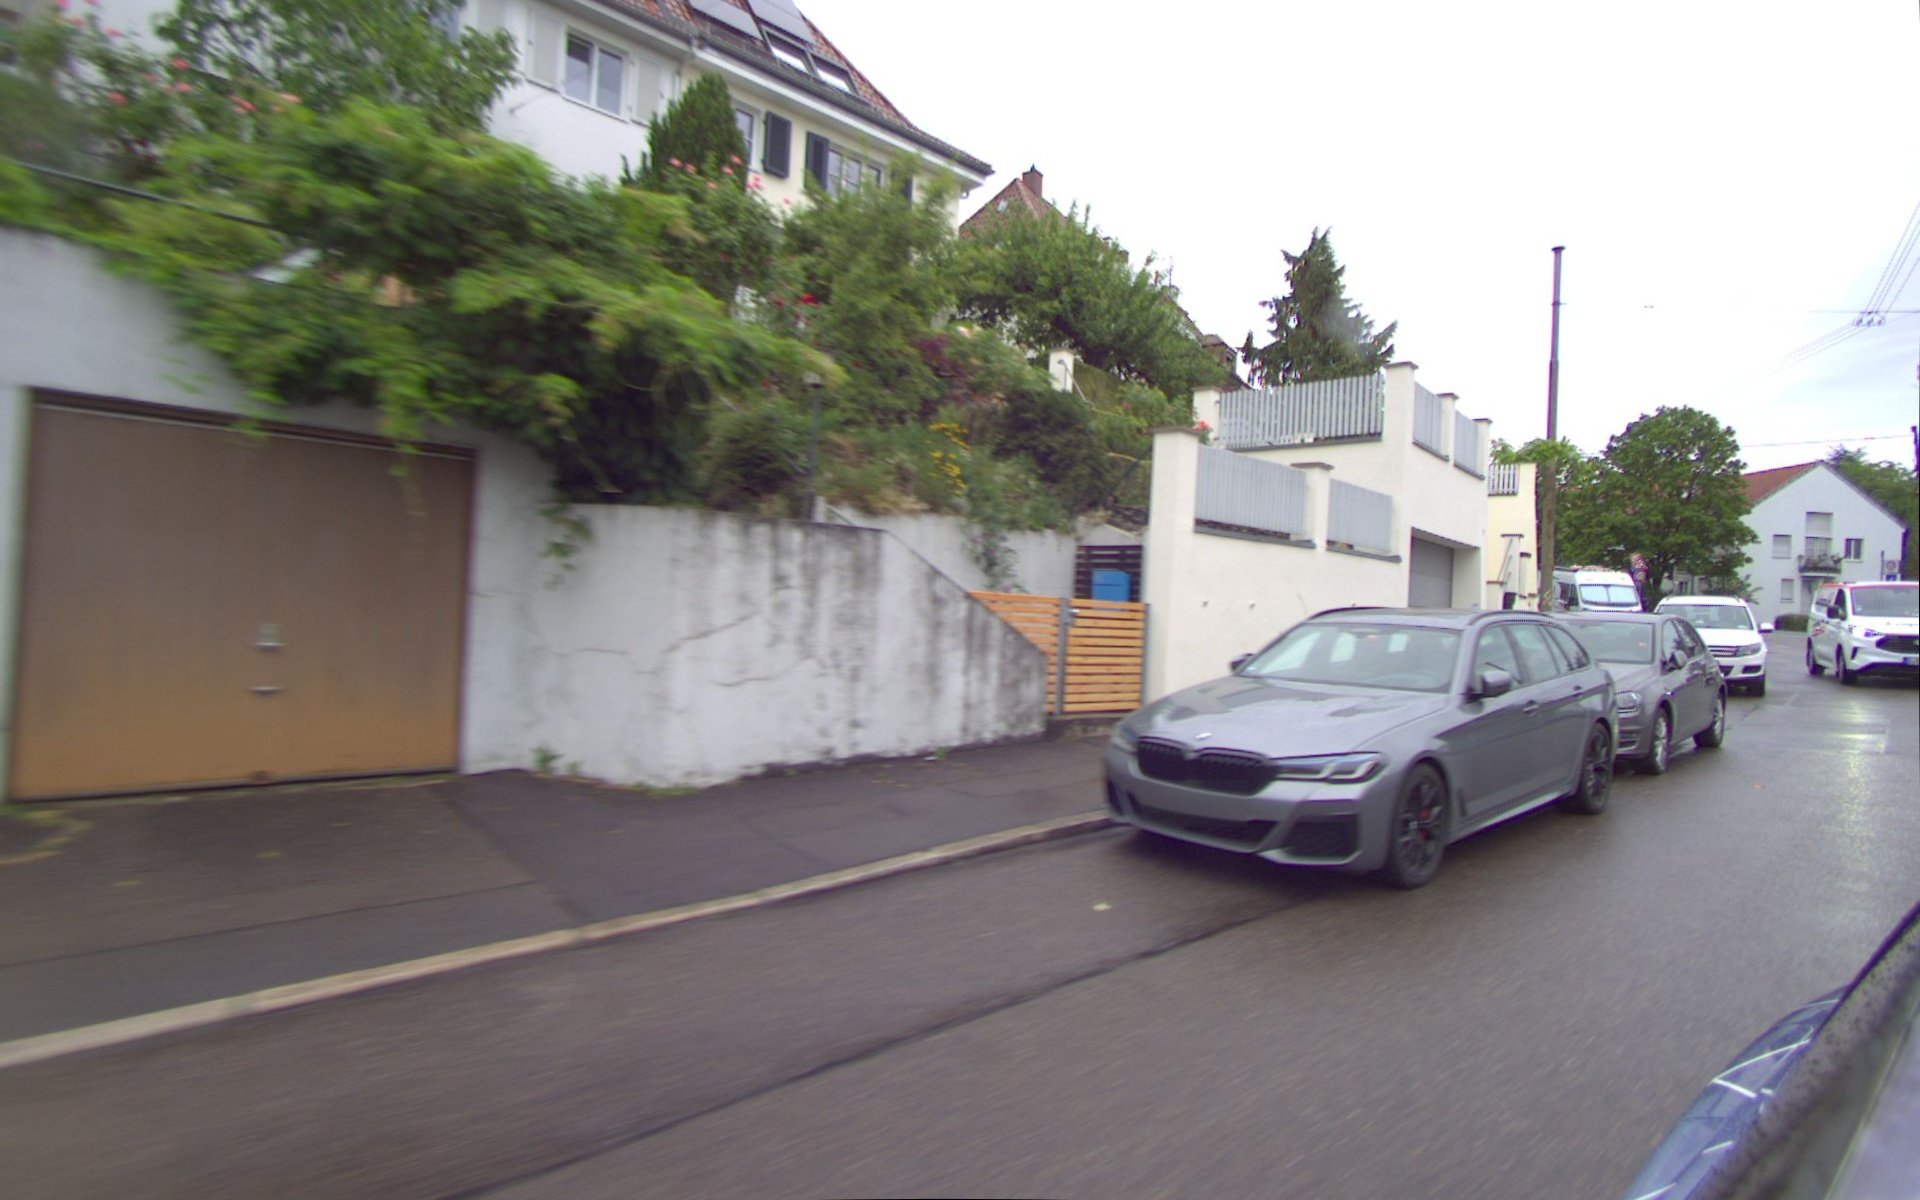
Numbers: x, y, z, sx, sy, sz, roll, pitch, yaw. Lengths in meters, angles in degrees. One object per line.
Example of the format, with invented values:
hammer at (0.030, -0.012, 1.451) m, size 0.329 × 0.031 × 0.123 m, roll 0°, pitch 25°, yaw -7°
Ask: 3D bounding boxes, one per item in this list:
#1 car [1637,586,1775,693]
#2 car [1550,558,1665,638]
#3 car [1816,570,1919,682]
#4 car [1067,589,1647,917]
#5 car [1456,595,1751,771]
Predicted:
car at (13.446, 0.600, 18.248) m, size 1.799 × 1.670 × 4.153 m, roll 1°, pitch 1°, yaw 37°
car at (23.332, -0.181, 36.729) m, size 2.079 × 2.573 × 5.587 m, roll 3°, pitch 3°, yaw 18°
car at (18.208, 0.446, 19.535) m, size 2.029 × 1.963 × 4.460 m, roll 0°, pitch 0°, yaw 34°
car at (2.958, 0.692, 6.919) m, size 4.624 × 1.515 × 1.792 m, roll 0°, pitch 1°, yaw -41°
car at (6.820, 0.713, 10.537) m, size 4.103 × 1.455 × 1.643 m, roll 1°, pitch 0°, yaw -43°
